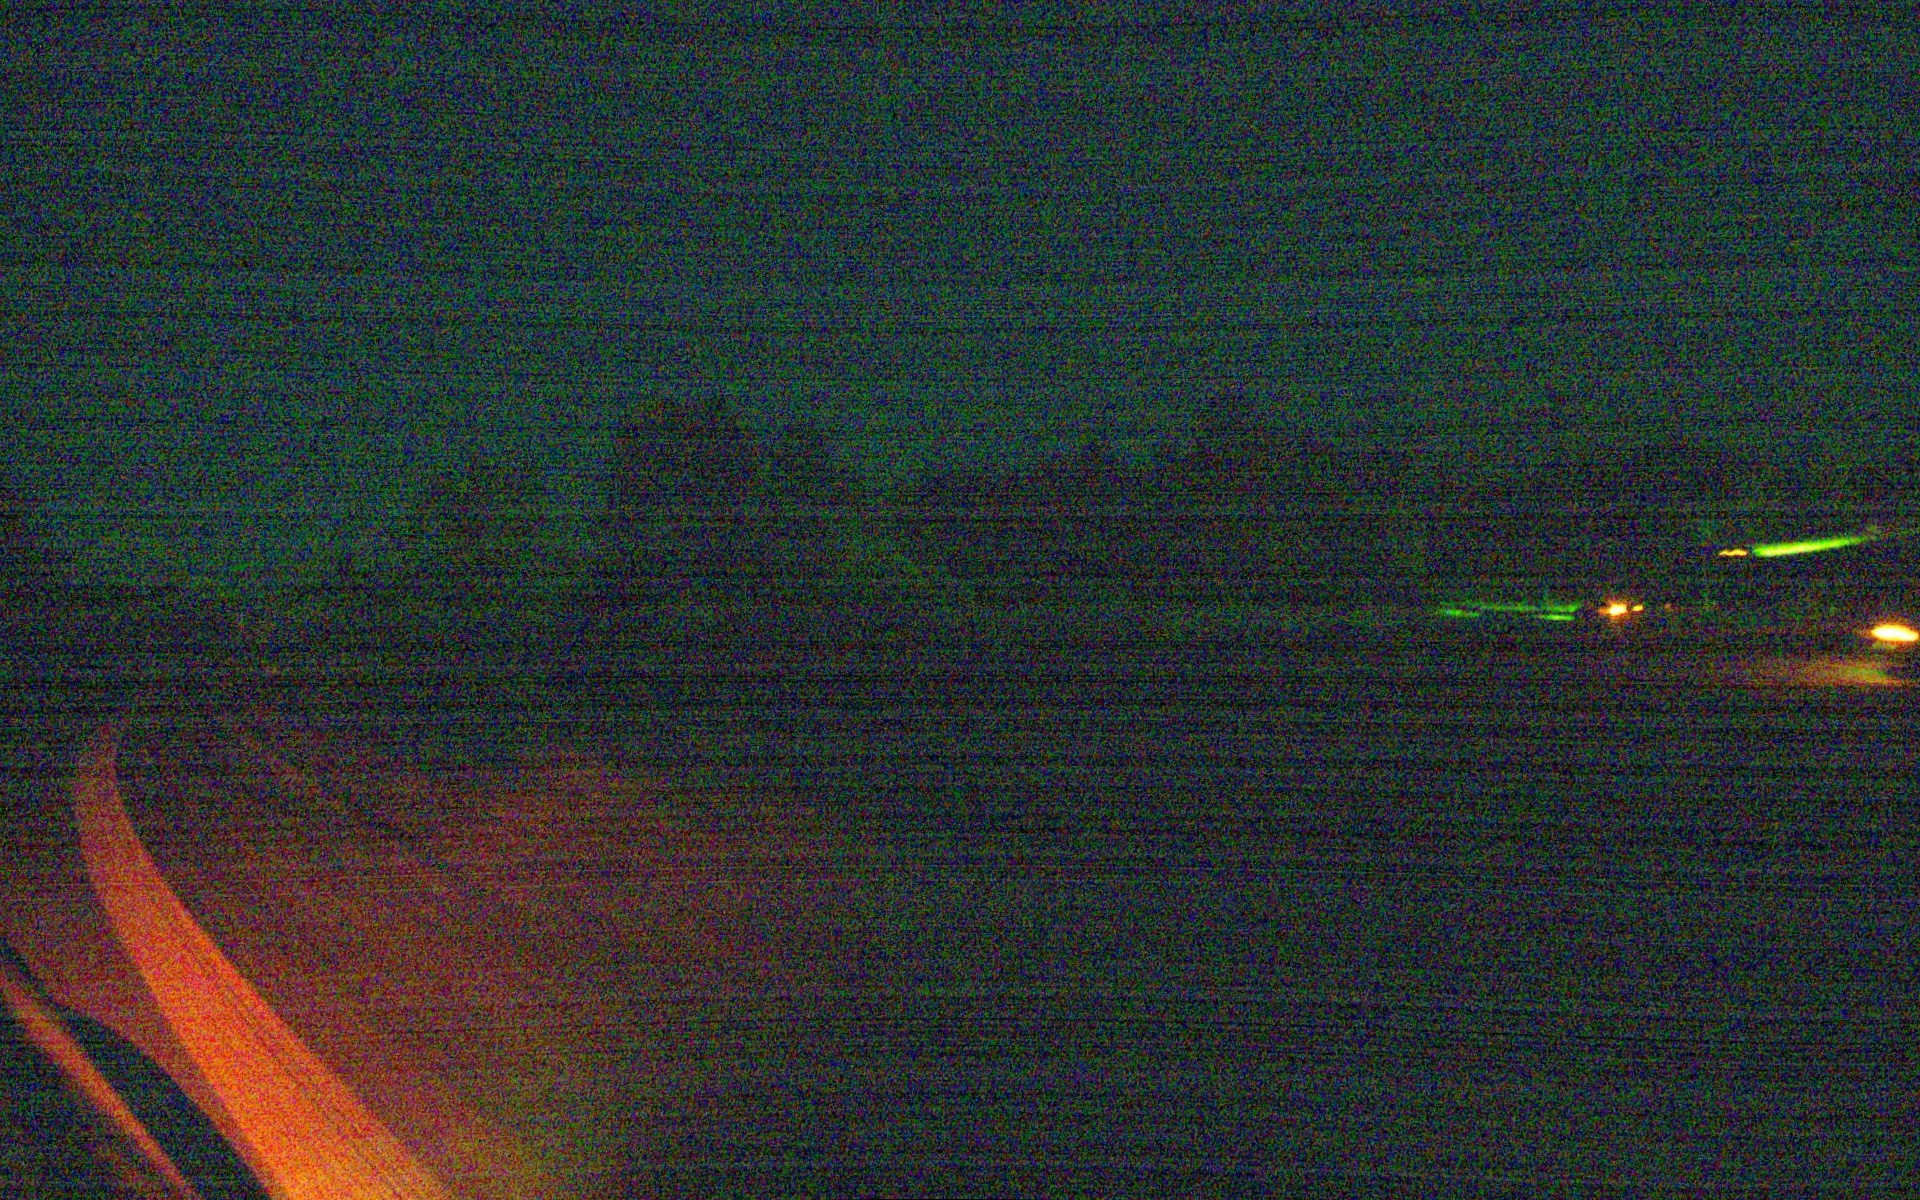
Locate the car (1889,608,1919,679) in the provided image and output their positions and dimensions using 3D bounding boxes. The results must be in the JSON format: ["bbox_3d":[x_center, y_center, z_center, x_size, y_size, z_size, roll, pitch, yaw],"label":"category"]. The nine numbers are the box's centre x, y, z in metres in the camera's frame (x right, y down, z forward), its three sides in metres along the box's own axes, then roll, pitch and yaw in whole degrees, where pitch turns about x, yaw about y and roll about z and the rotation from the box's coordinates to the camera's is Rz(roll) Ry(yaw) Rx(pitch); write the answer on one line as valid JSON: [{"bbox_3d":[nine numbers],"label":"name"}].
[{"bbox_3d":[25.725,0.970,24.468,1.918,1.620,4.646,-5,0,-44],"label":"car"}]

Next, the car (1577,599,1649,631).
[{"bbox_3d":[39.249,0.916,60.942,1.853,1.798,3.993,-2,-2,5],"label":"car"}]
